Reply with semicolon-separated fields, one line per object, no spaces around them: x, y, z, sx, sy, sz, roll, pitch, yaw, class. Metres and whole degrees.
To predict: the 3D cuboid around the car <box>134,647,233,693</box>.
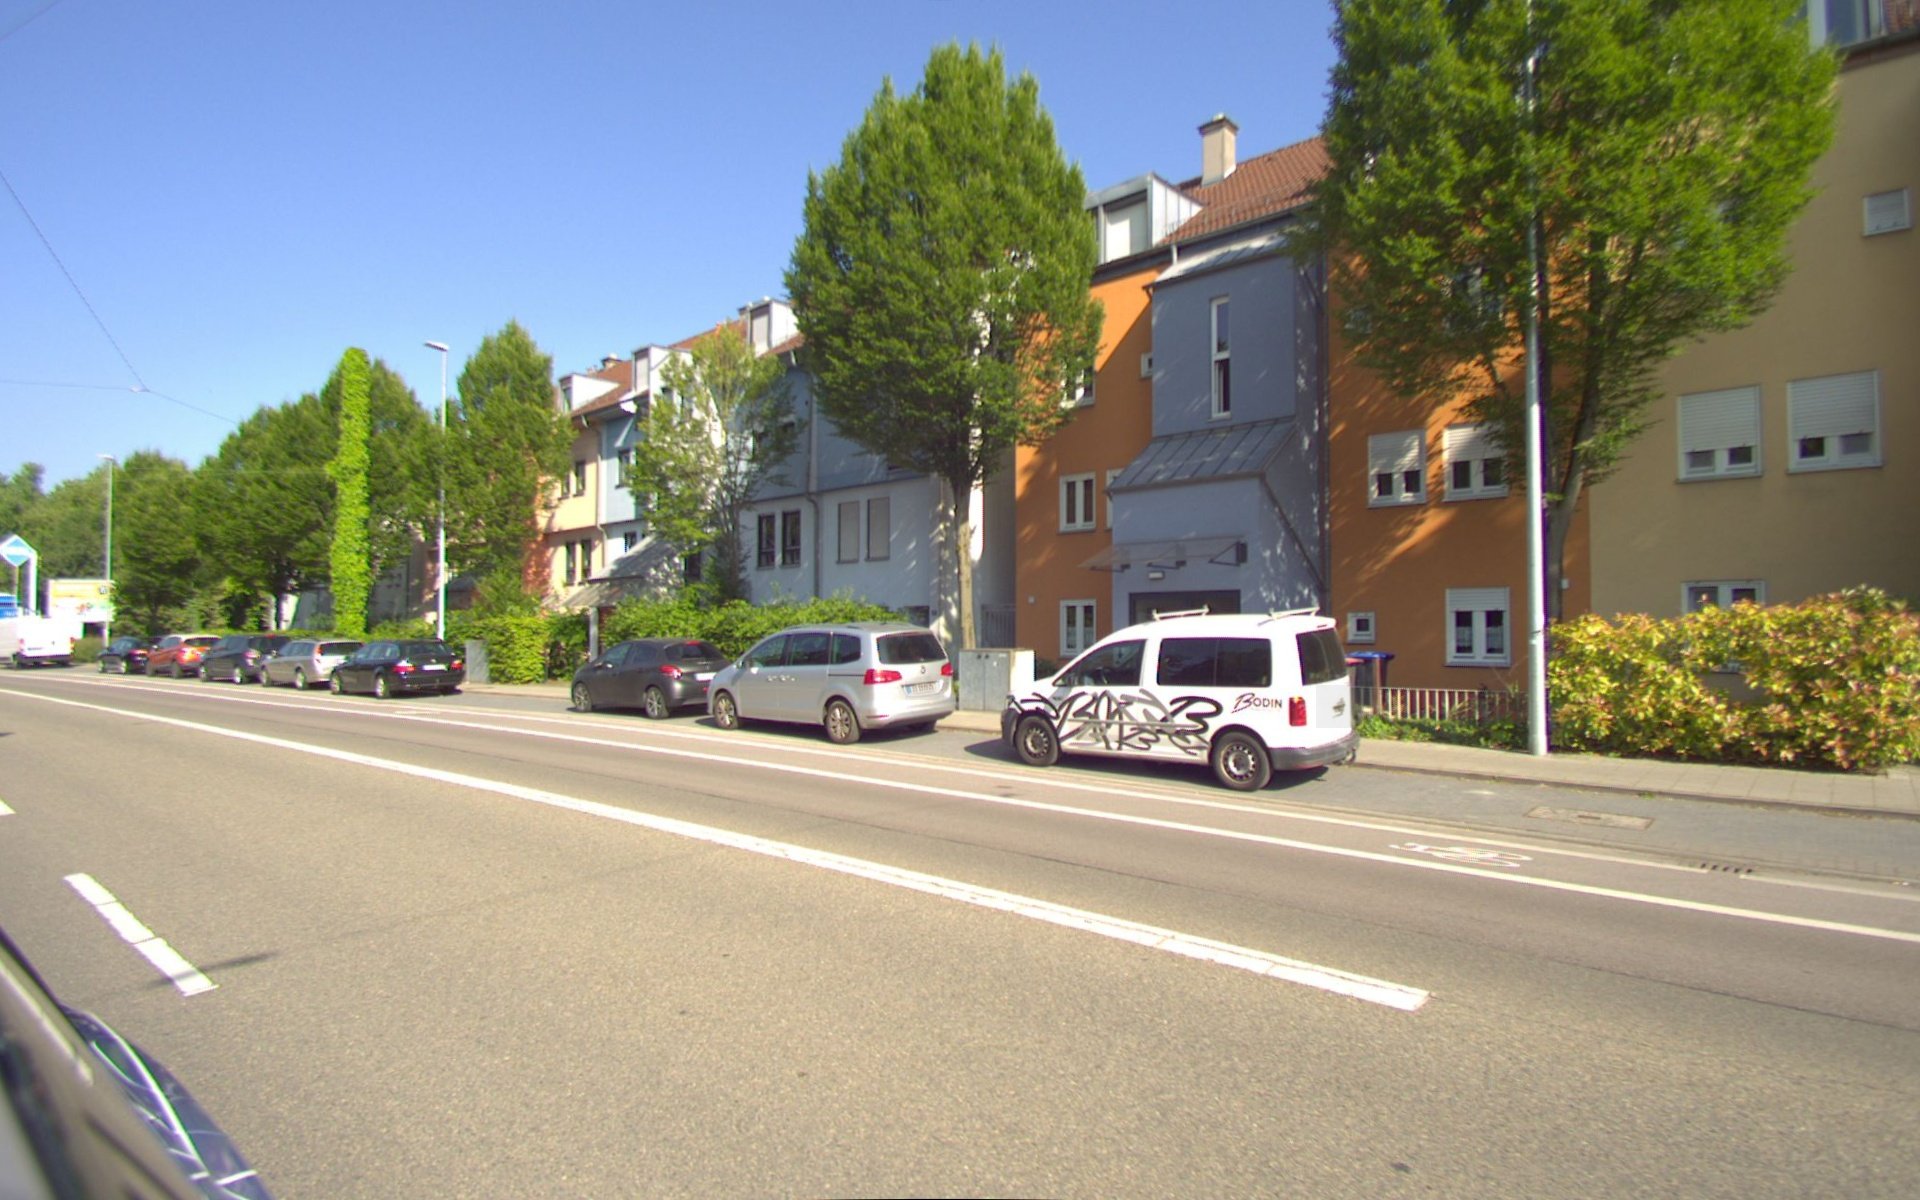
-28.659;2.537;37.314;4.153;1.586;1.747;-1;-3;36;car

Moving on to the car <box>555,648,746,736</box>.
-6.066;1.694;19.601;4.055;1.477;1.599;-2;-2;40;car

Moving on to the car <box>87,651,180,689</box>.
-33.031;2.767;40.404;4.702;1.435;1.638;-2;-3;35;car

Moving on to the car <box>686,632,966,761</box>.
-2.261;1.411;16.024;4.823;1.714;1.650;-2;-2;42;car

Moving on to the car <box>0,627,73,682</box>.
-45.346;2.628;48.863;6.164;2.476;2.135;-2;-1;33;car

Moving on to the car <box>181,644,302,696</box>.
-24.014;2.282;33.771;4.423;1.586;1.749;-2;-2;32;car

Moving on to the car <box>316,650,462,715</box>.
-15.160;2.106;26.755;4.904;1.483;1.693;-2;-1;39;car

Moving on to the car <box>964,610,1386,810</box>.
2.390;1.149;12.045;4.577;1.859;1.745;-2;1;41;car

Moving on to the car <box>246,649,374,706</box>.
-19.698;2.286;30.593;4.836;1.482;1.697;-1;-1;37;car
